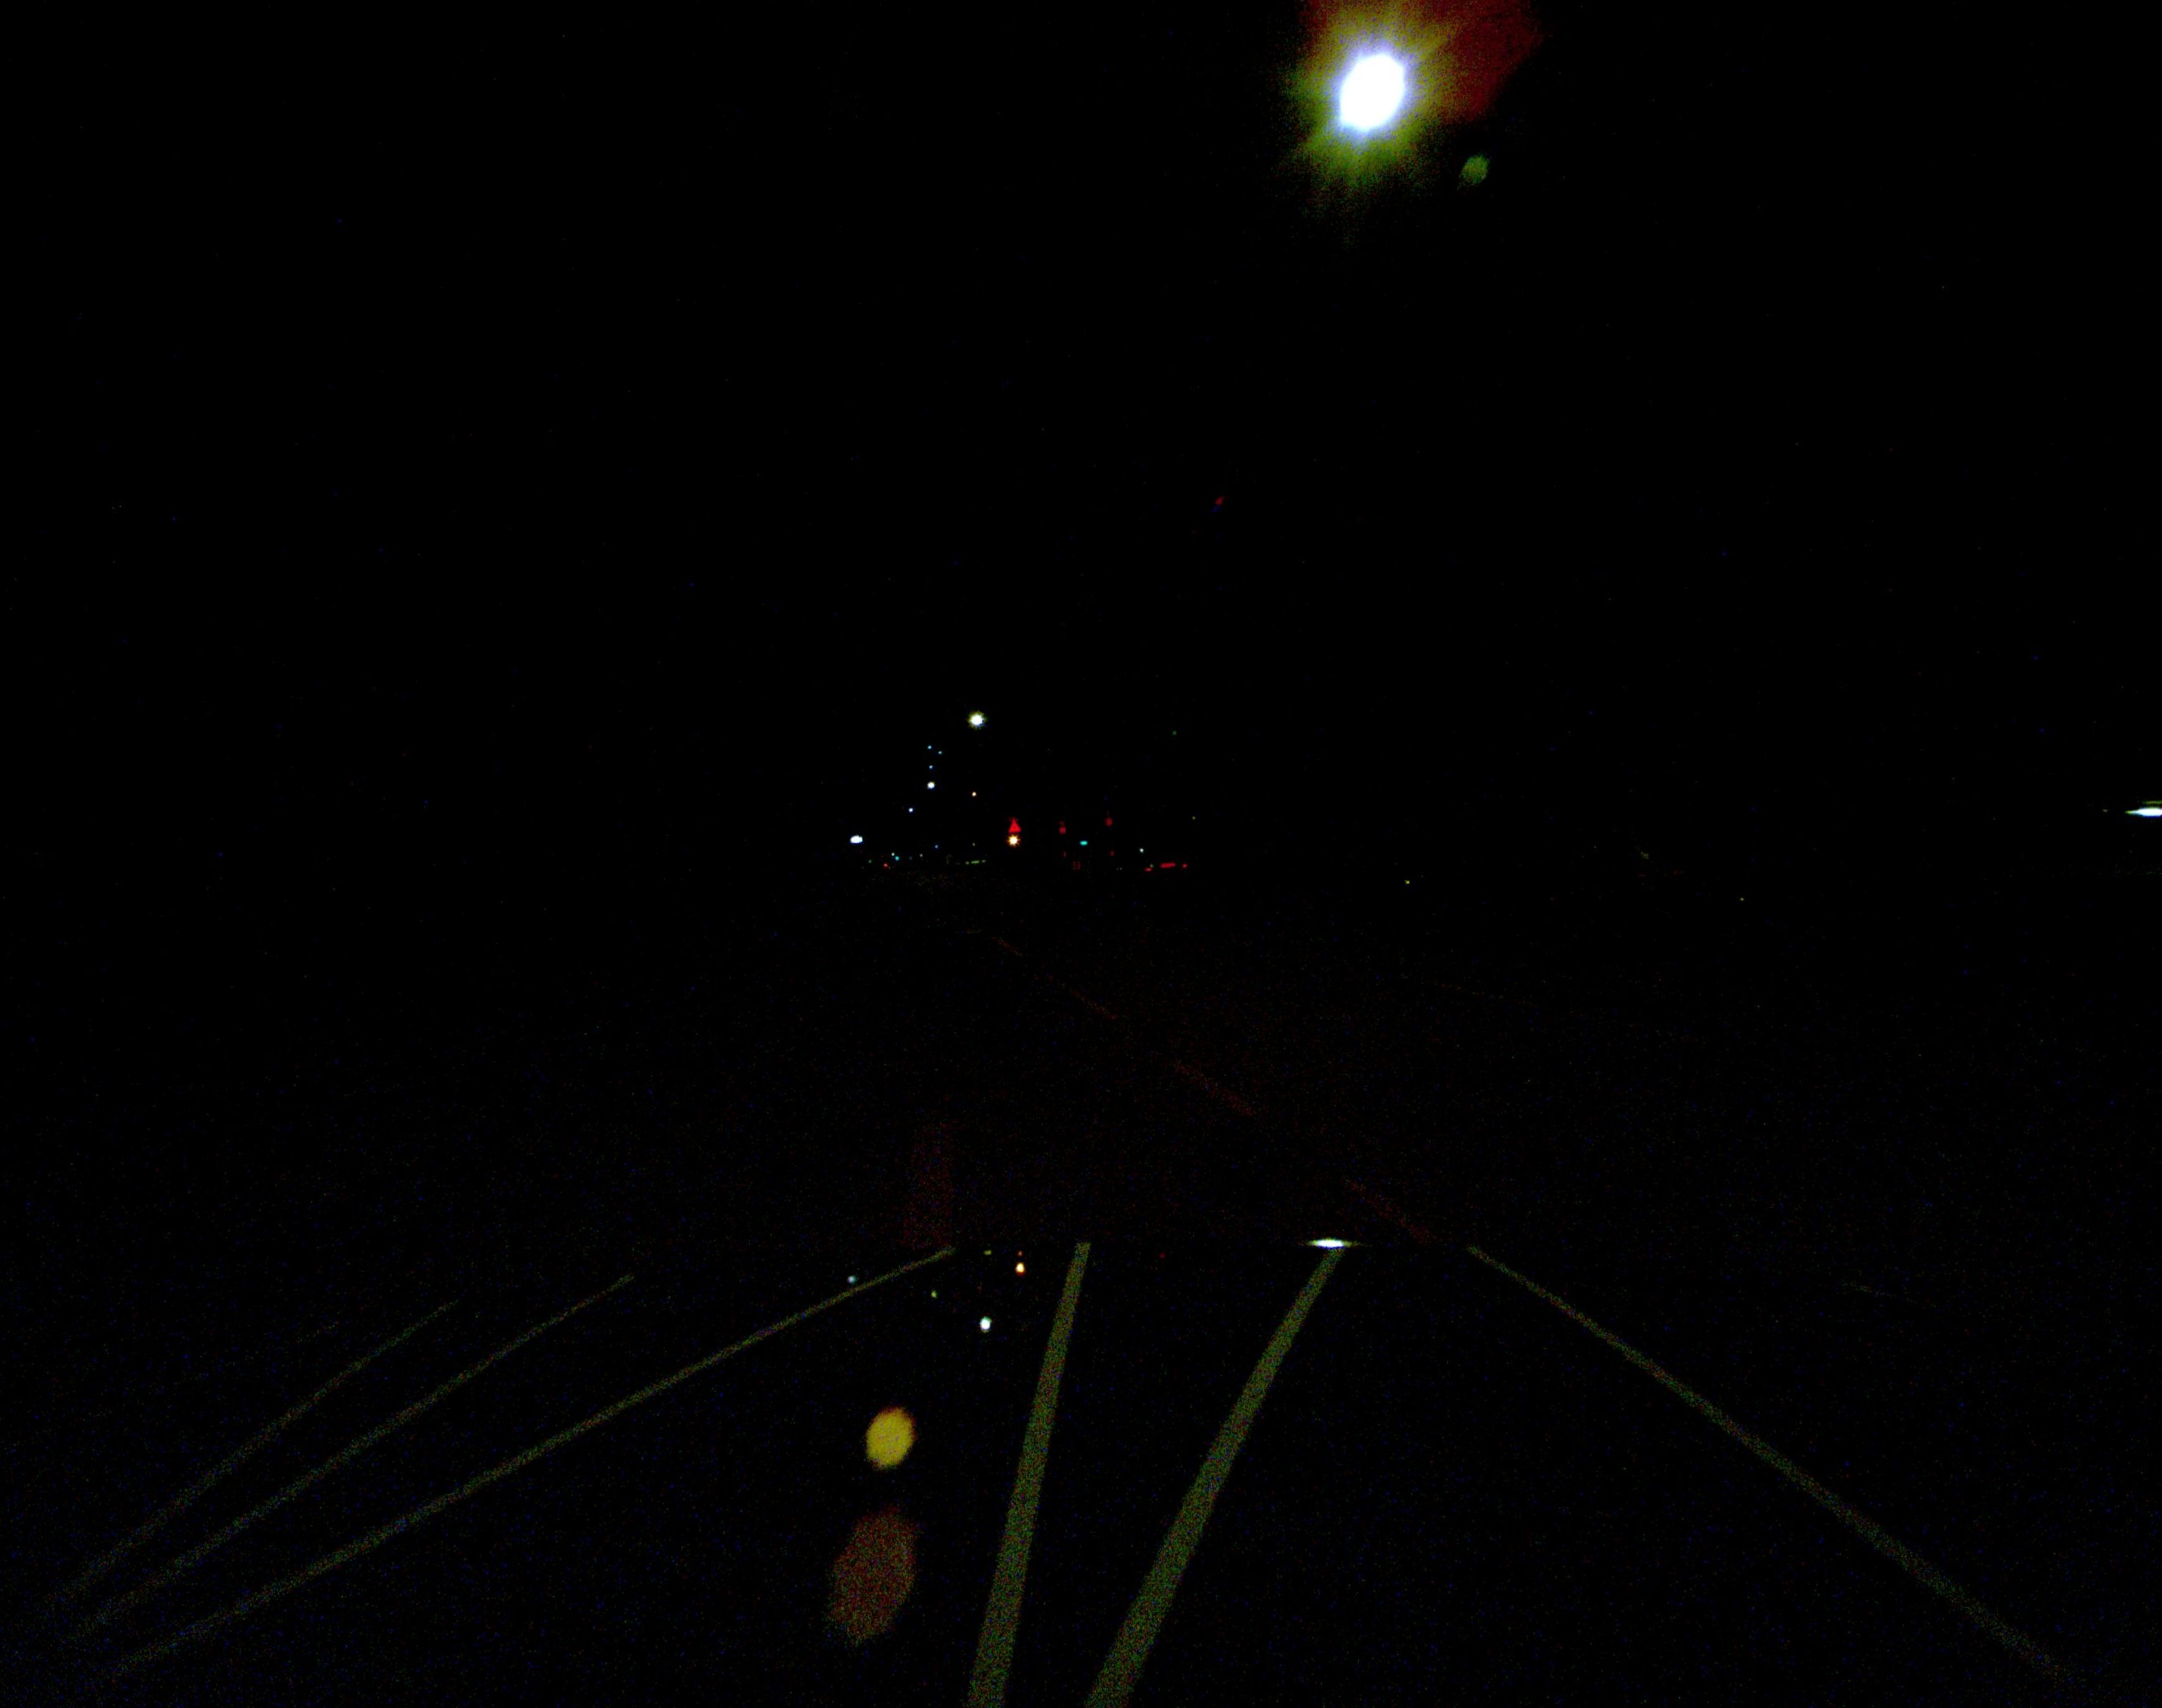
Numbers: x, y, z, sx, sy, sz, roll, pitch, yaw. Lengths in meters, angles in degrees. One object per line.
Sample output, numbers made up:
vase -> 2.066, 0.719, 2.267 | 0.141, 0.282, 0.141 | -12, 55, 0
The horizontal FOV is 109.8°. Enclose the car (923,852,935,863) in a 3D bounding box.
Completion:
car -> -28.882, 0.679, 144.531 | 1.884, 1.799, 3.726 | -7, 1, -13

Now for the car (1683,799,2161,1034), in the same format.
car -> 7.562, 0.360, 5.532 | 1.774, 1.477, 4.857 | -3, 1, -15

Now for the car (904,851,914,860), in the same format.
car -> -48.608, 0.469, 214.639 | 2.007, 2.493, 4.947 | -7, 2, -16

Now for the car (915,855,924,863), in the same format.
car -> -36.547, 1.047, 171.409 | 1.828, 1.637, 3.726 | -3, 1, -14

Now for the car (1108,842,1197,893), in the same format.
car -> 2.383, 0.431, 26.357 | 1.720, 1.485, 3.985 | -5, 1, -14

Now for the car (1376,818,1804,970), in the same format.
car -> 6.326, 0.403, 10.289 | 1.775, 1.477, 4.761 | -3, 1, -16

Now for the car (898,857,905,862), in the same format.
car -> -56.976, 1.619, 240.838 | 1.828, 1.424, 3.726 | -7, 1, -16

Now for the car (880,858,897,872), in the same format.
car -> -21.755, 1.241, 85.905 | 1.592, 1.453, 3.792 | -5, 1, -12

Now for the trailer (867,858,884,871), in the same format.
trailer -> -25.400, 1.276, 93.933 | 1.606, 1.486, 3.730 | -5, 1, -11
